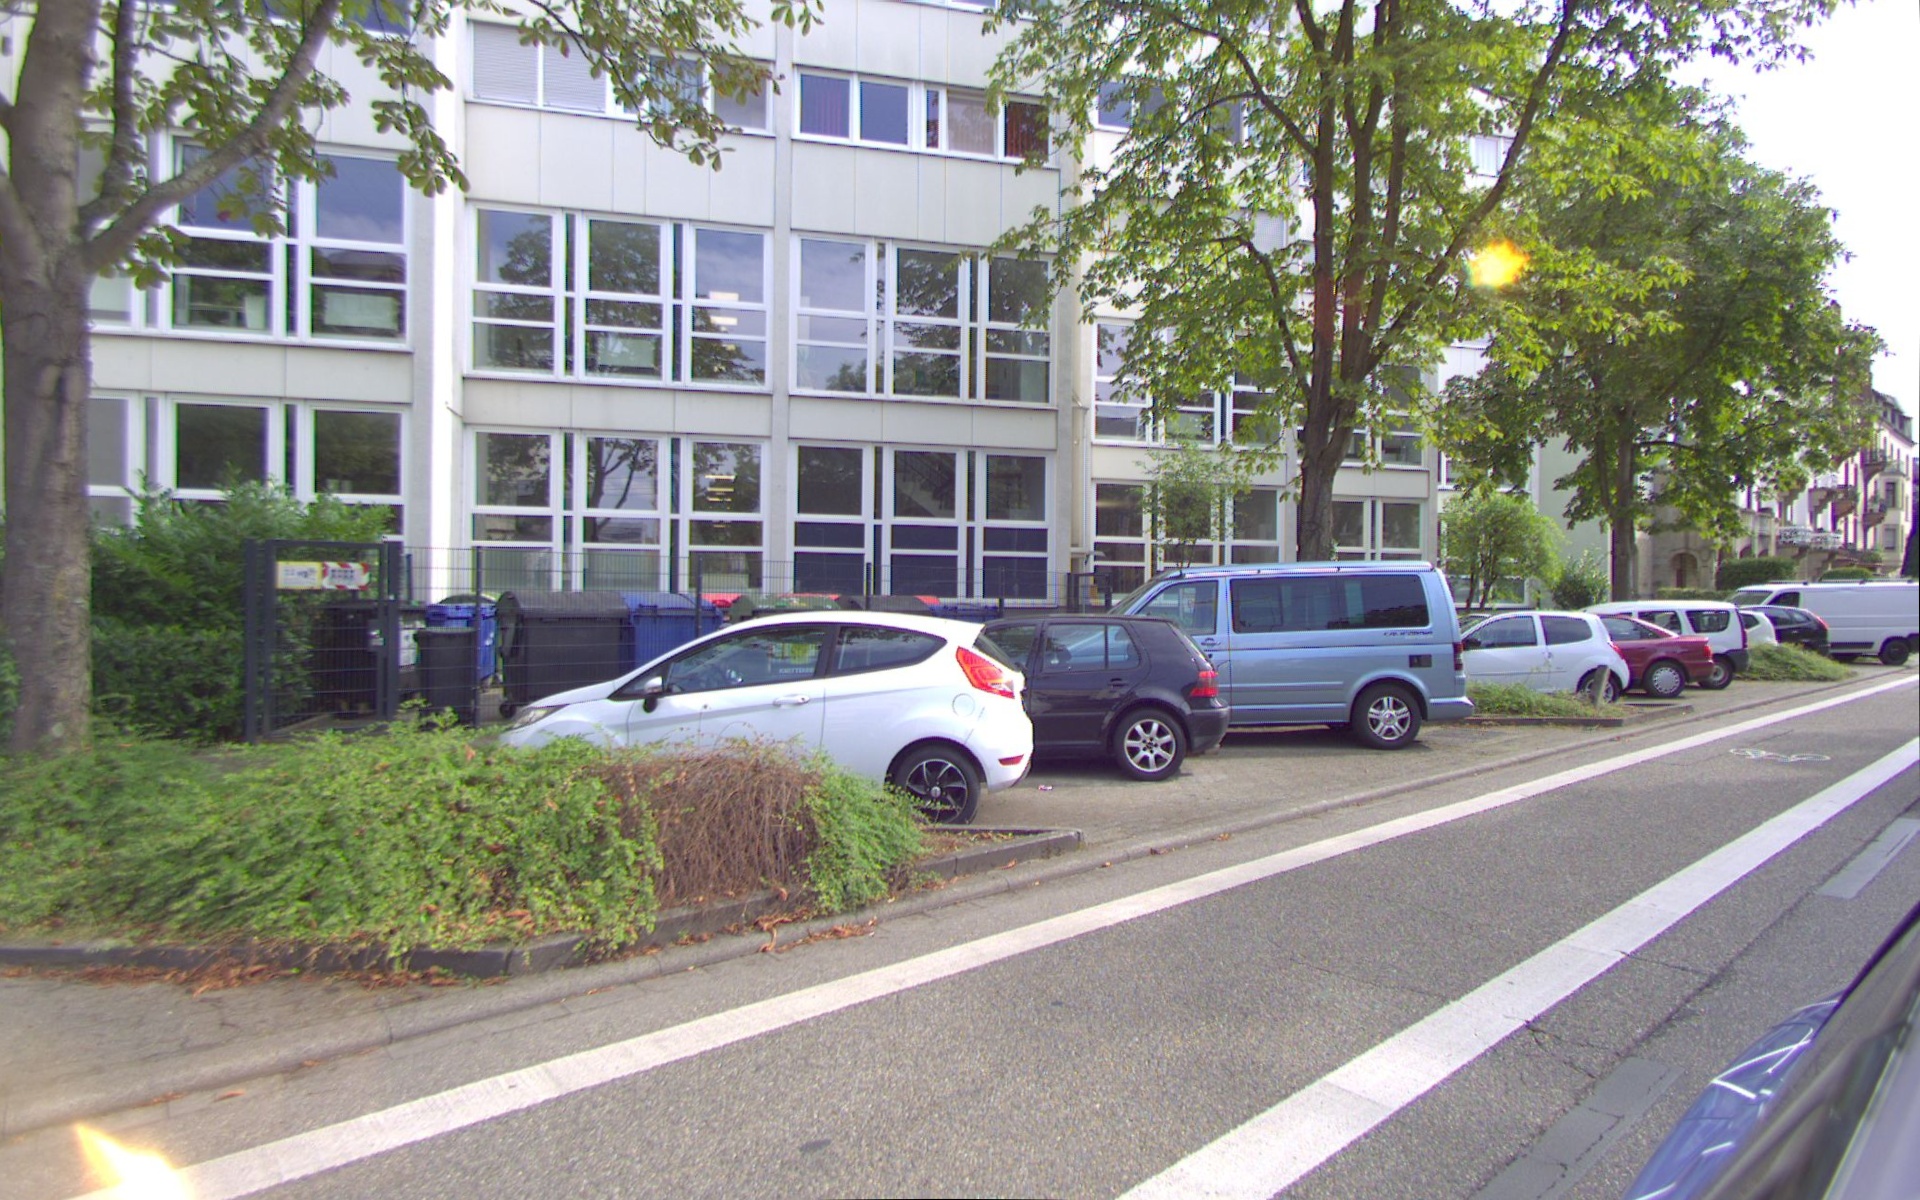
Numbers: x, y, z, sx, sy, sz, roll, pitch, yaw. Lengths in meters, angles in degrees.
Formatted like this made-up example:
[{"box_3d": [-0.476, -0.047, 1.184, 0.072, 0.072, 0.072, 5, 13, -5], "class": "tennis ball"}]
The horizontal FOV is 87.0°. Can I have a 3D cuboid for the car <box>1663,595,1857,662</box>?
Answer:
[{"box_3d": [20.737, 0.697, 26.415, 3.605, 1.609, 1.753, 0, 0, 24], "class": "car"}]

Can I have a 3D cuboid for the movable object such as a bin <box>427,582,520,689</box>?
[{"box_3d": [-7.569, 0.523, 15.815, 1.155, 1.588, 1.177, 0, 0, -19], "class": "movable object such as a bin"}]

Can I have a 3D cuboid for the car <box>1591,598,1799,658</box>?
[{"box_3d": [17.391, 0.640, 24.082, 3.580, 1.347, 1.766, 0, 0, 5], "class": "car"}]

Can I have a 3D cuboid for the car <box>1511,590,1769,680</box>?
[{"box_3d": [13.006, 0.621, 19.583, 3.708, 1.638, 1.810, 0, 0, 9], "class": "car"}]

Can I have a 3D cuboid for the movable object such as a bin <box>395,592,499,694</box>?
[{"box_3d": [-7.297, 0.581, 14.465, 1.155, 1.387, 1.177, 0, 0, -19], "class": "movable object such as a bin"}]

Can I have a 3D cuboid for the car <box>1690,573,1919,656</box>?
[{"box_3d": [23.936, 0.381, 28.247, 5.349, 2.203, 2.143, 0, 0, 9], "class": "car"}]

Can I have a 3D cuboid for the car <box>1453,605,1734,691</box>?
[{"box_3d": [10.887, 0.793, 17.646, 3.708, 1.355, 1.810, 0, 0, 9], "class": "car"}]

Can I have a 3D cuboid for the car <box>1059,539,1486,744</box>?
[{"box_3d": [3.309, 0.405, 11.495, 4.268, 2.090, 1.998, 0, 0, 5], "class": "car"}]

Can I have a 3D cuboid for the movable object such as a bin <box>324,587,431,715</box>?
[{"box_3d": [-6.784, 0.564, 11.839, 0.893, 1.425, 1.026, 0, 0, -19], "class": "movable object such as a bin"}]

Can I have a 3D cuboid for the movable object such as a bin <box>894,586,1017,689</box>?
[{"box_3d": [-0.078, 0.531, 15.498, 1.374, 1.477, 1.335, 0, 0, -36], "class": "movable object such as a bin"}]

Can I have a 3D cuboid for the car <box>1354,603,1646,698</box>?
[{"box_3d": [8.249, 0.733, 15.744, 3.580, 1.347, 1.766, 0, 0, 5], "class": "car"}]

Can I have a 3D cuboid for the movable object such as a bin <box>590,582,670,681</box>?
[{"box_3d": [-5.486, 0.502, 16.911, 1.150, 1.588, 1.182, 0, 0, -12], "class": "movable object such as a bin"}]

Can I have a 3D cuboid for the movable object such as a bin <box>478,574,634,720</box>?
[{"box_3d": [-4.682, 0.499, 11.711, 1.389, 1.549, 1.330, 0, 0, -36], "class": "movable object such as a bin"}]

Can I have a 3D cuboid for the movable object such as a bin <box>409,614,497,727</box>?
[{"box_3d": [-5.379, 0.714, 10.724, 0.729, 1.119, 0.786, 0, 0, -34], "class": "movable object such as a bin"}]

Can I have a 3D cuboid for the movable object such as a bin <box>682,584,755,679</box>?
[{"box_3d": [-4.053, 0.507, 17.053, 1.150, 1.533, 1.182, 0, 0, -12], "class": "movable object such as a bin"}]

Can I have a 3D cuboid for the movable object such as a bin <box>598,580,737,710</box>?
[{"box_3d": [-3.691, 0.523, 12.737, 1.312, 1.523, 1.335, 0, 0, -36], "class": "movable object such as a bin"}]

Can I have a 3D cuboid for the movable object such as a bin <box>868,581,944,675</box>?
[{"box_3d": [-0.966, 0.466, 17.751, 1.150, 1.588, 1.182, 0, 0, -12], "class": "movable object such as a bin"}]

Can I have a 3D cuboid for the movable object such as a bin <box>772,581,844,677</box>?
[{"box_3d": [-2.635, 0.480, 17.449, 1.150, 1.588, 1.182, 0, 0, -12], "class": "movable object such as a bin"}]

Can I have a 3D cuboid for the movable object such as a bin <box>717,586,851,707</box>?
[{"box_3d": [-2.383, 0.577, 13.615, 1.328, 1.521, 1.335, 0, 0, -36], "class": "movable object such as a bin"}]

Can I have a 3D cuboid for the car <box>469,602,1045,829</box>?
[{"box_3d": [-1.308, 0.733, 7.381, 3.792, 1.410, 1.632, 0, 0, 4], "class": "car"}]

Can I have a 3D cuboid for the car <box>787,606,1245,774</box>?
[{"box_3d": [0.500, 0.775, 9.558, 3.902, 1.405, 1.812, 0, -1, 5], "class": "car"}]

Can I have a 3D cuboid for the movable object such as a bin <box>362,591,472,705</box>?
[{"box_3d": [-7.019, 0.586, 13.154, 1.095, 1.409, 1.065, 0, 0, -19], "class": "movable object such as a bin"}]

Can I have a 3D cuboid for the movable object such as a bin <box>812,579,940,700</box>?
[{"box_3d": [-1.209, 0.522, 14.470, 1.328, 1.616, 1.335, 0, 0, -36], "class": "movable object such as a bin"}]
